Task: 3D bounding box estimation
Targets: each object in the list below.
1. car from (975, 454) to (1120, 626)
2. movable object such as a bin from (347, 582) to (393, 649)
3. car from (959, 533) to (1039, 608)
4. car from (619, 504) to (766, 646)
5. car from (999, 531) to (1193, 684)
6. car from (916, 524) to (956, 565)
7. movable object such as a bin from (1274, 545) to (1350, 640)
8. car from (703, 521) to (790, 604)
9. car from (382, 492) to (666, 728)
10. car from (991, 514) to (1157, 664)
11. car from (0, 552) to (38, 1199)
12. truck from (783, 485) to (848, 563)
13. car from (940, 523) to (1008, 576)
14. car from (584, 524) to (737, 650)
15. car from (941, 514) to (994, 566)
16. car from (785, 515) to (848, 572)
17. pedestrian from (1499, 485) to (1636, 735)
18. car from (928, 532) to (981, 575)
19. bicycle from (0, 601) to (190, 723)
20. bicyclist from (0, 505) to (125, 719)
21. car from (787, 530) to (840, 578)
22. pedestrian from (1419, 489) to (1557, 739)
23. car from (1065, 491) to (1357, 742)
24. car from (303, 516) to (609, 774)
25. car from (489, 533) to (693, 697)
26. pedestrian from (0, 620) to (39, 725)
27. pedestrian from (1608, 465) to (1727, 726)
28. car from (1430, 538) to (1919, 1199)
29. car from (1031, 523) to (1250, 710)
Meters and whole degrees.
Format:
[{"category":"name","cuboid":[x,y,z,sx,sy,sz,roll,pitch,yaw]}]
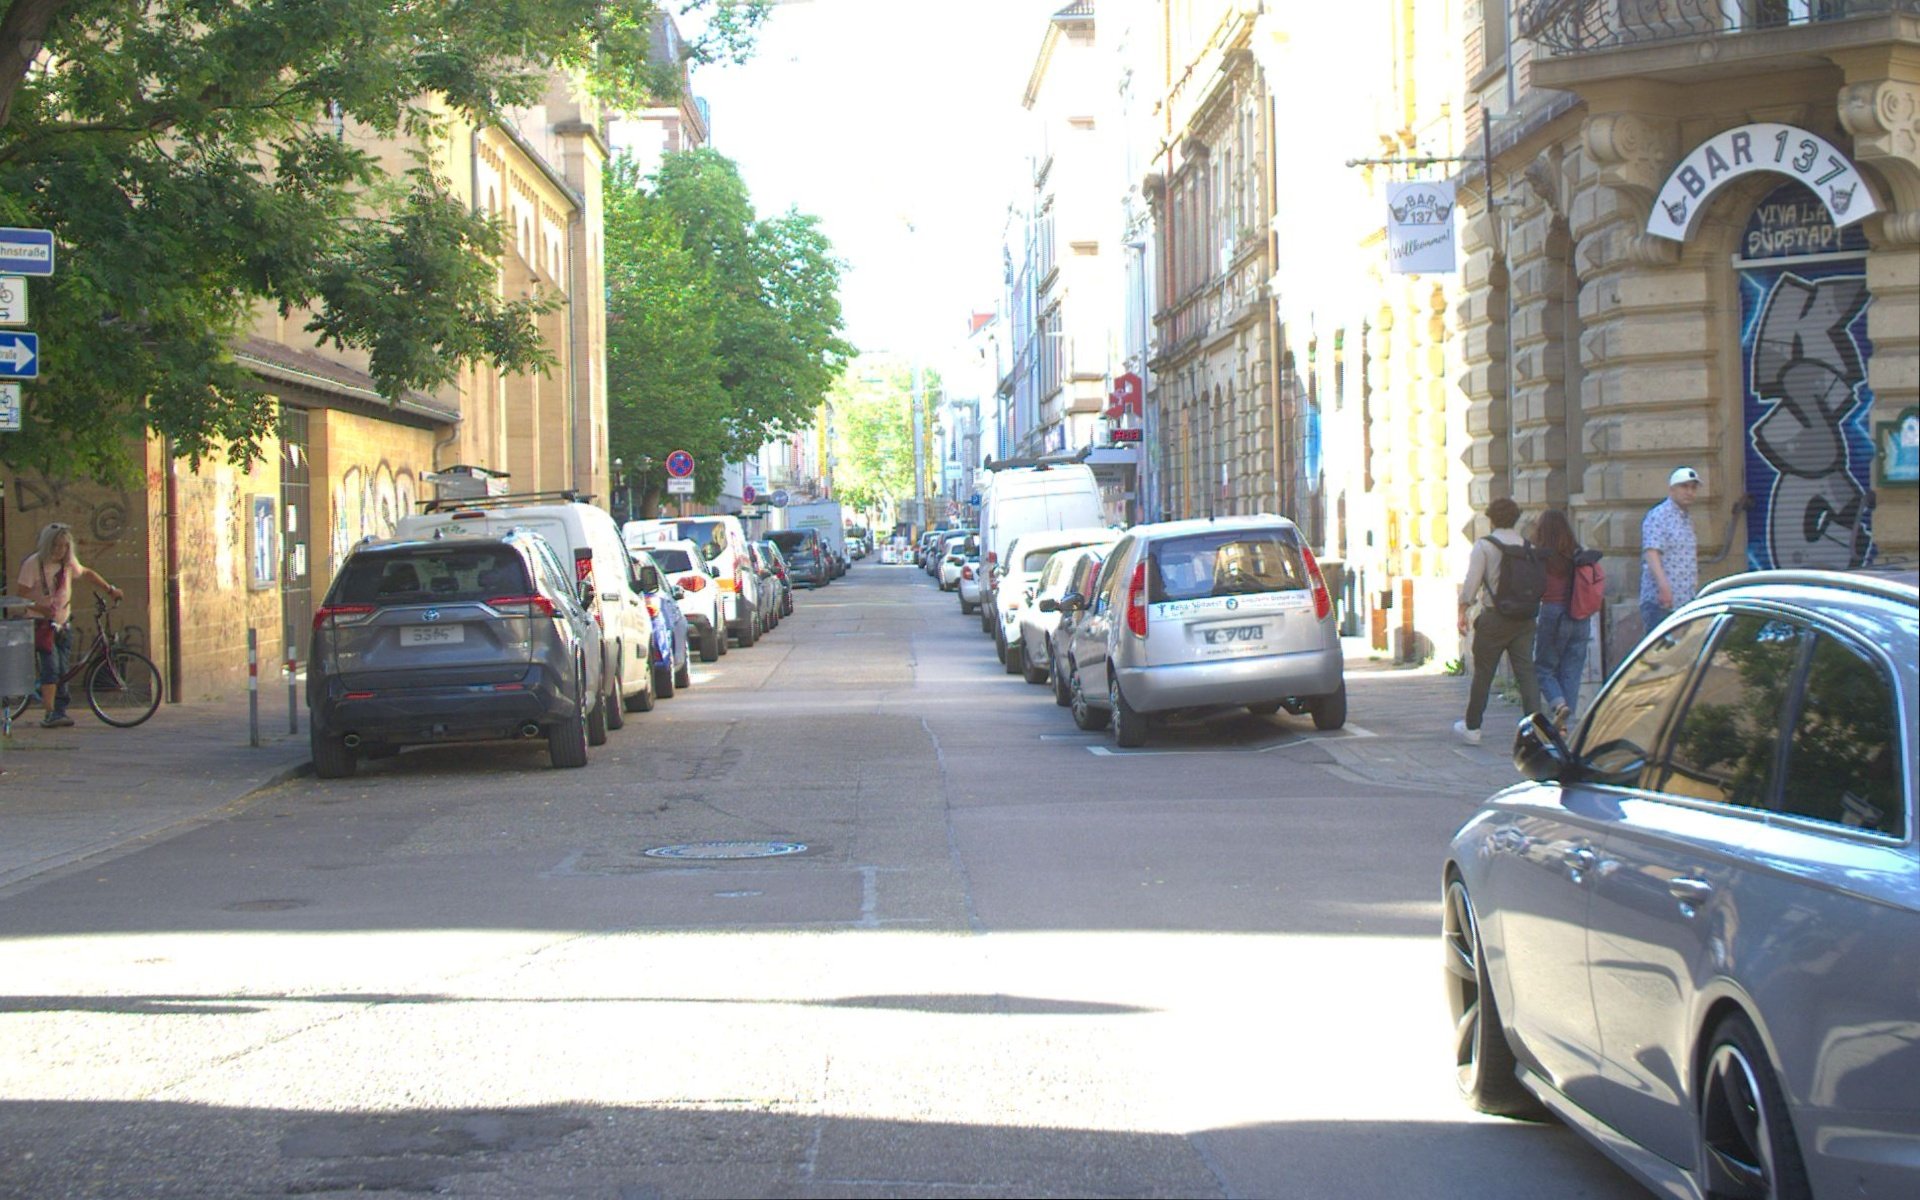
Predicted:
[{"category":"car","cuboid":[1.358,-0.997,55.689,2.068,2.602,5.888,-1,2,-1]},{"category":"movable object such as a bin","cuboid":[-7.368,0.189,42.940,0.453,0.805,0.590,-1,1,-1]},{"category":"car","cuboid":[0.796,-0.638,71.546,1.603,1.499,4.000,0,1,0]},{"category":"car","cuboid":[-3.974,-0.412,51.728,1.864,1.950,4.611,-3,1,-1]},{"category":"car","cuboid":[1.397,0.043,36.675,1.572,1.520,3.909,1,1,-5]},{"category":"car","cuboid":[-1.249,-2.855,176.471,1.993,2.007,4.000,-1,1,-1]},{"category":"movable object such as a bin","cuboid":[4.091,-0.089,39.945,0.548,1.049,0.603,-5,2,-34]},{"category":"car","cuboid":[-4.484,-0.813,72.624,1.600,1.608,3.809,-4,1,-1]},{"category":"car","cuboid":[-3.704,0.015,29.920,1.845,1.856,4.465,-2,2,0]},{"category":"car","cuboid":[1.308,-0.159,40.978,1.807,1.684,4.214,0,1,0]},{"category":"car","cuboid":[-2.947,0.672,5.808,1.722,1.476,4.090,0,1,-1]},{"category":"truck","cuboid":[-6.269,-3.325,150.333,2.532,3.270,6.995,-1,1,-1]},{"category":"car","cuboid":[0.378,-1.487,100.277,1.897,1.483,3.870,-1,1,-1]},{"category":"car","cuboid":[-3.958,-0.213,45.925,1.742,1.581,3.869,-1,1,-1]},{"category":"car","cuboid":[0.235,-2.122,120.694,1.769,1.735,4.000,-1,2,-1]},{"category":"car","cuboid":[-4.660,-1.849,111.954,1.875,1.790,4.000,-1,1,-1]},{"category":"pedestrian","cuboid":[4.050,0.057,22.944,0.574,1.616,0.734,-3,2,-15]},{"category":"car","cuboid":[-0.239,-1.827,134.119,1.993,1.626,4.000,1,1,-1]},{"category":"bicycle","cuboid":[-7.312,0.498,28.191,1.762,0.920,0.826,1,1,8]},{"category":"bicyclist","cuboid":[-7.370,0.088,28.192,0.805,1.717,0.692,1,2,8]},{"category":"car","cuboid":[-5.713,-1.818,133.796,1.875,1.790,4.001,-2,1,-5]},{"category":"pedestrian","cuboid":[3.493,0.081,22.772,0.590,1.598,0.727,-3,2,-15]},{"category":"car","cuboid":[1.841,0.069,26.316,1.703,1.708,3.939,-2,1,-3]},{"category":"car","cuboid":[-3.517,0.244,24.645,1.740,1.641,4.290,-2,1,-3]},{"category":"car","cuboid":[-3.720,0.108,35.199,1.687,1.471,3.861,-3,2,-1]},{"category":"pedestrian","cuboid":[-7.601,0.567,26.344,0.915,0.775,0.703,-2,1,-25]},{"category":"pedestrian","cuboid":[4.813,-0.037,23.385,0.662,1.726,0.575,-2,2,19]},{"category":"car","cuboid":[2.169,0.607,7.163,1.706,1.454,4.511,0,1,-1]},{"category":"car","cuboid":[1.561,0.096,30.775,1.535,1.508,3.682,-2,1,-3]}]
